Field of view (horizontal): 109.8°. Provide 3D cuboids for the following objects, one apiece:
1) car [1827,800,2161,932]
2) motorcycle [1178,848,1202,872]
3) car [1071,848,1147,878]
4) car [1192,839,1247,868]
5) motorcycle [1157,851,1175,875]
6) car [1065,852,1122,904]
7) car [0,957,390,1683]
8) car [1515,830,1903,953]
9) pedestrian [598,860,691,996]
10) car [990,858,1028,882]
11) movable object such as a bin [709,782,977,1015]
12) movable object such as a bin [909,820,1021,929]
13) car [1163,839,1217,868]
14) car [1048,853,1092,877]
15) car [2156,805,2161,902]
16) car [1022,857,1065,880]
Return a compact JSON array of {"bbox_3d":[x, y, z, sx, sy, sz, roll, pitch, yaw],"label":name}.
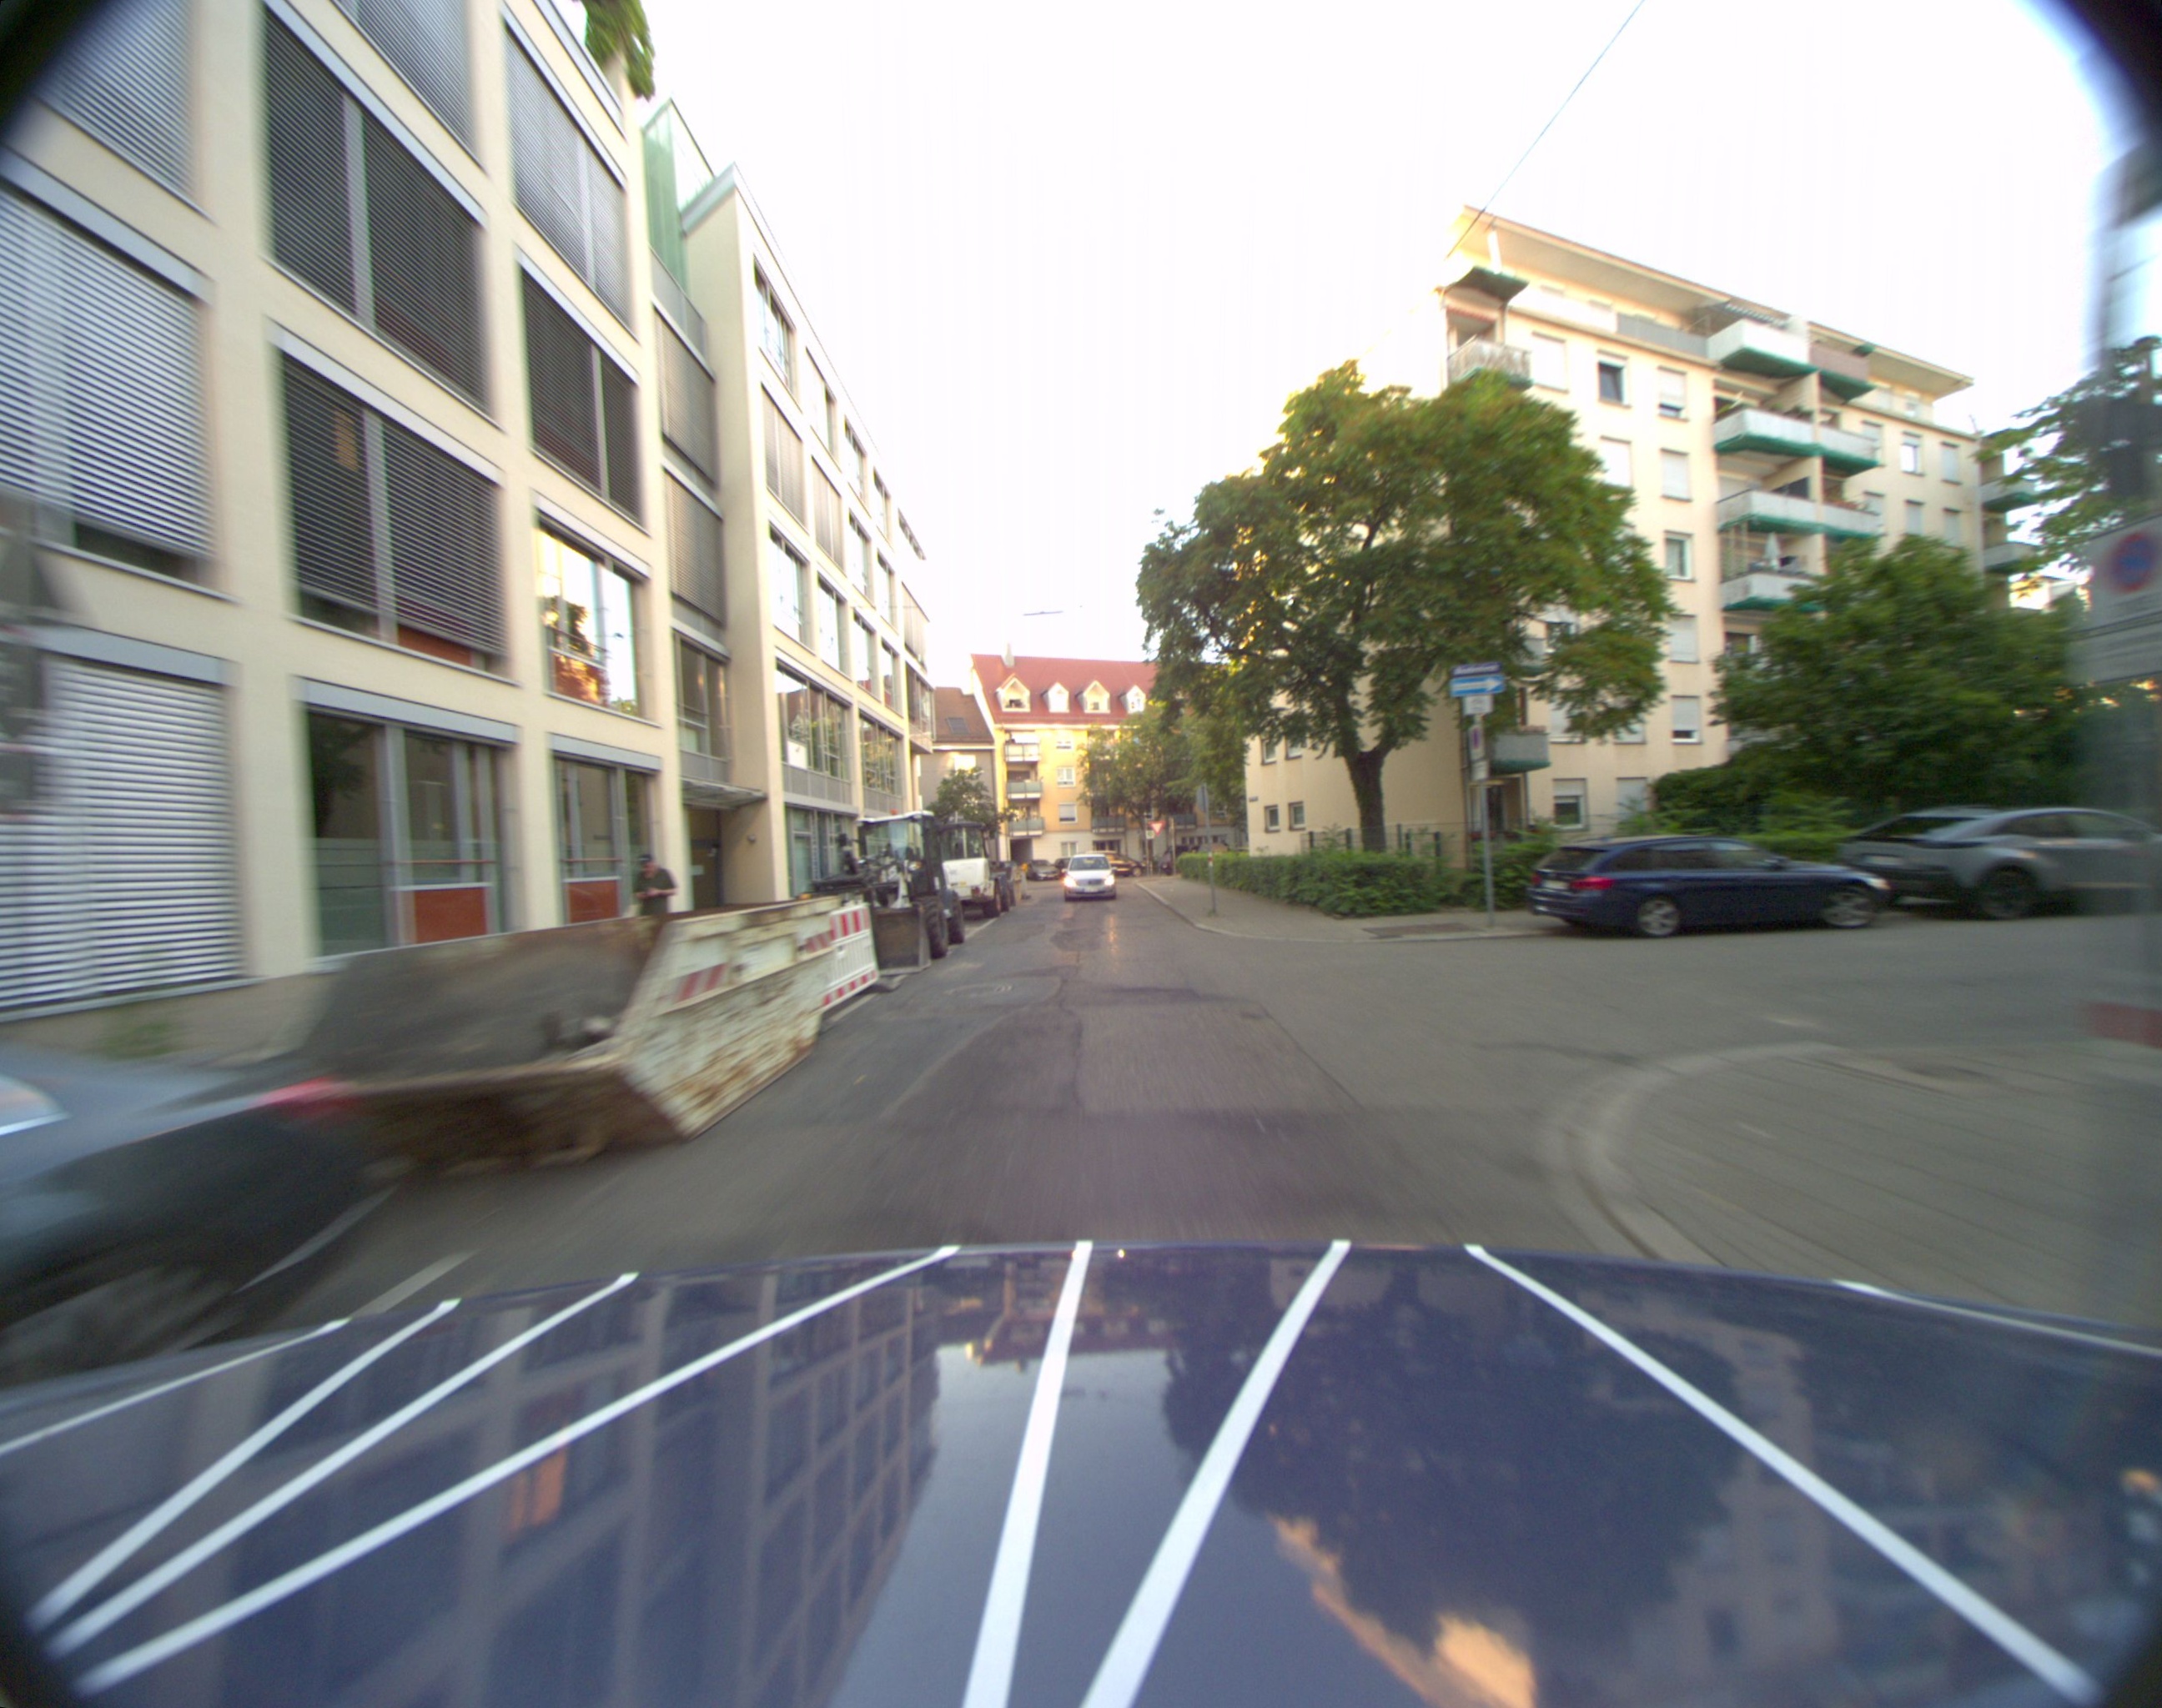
[{"bbox_3d":[14.361,0.142,11.611,4.123,1.694,1.727,-3,1,2],"label":"car"},{"bbox_3d":[6.567,0.366,45.796,0.572,1.398,1.968,-3,0,-18],"label":"motorcycle"},{"bbox_3d":[1.780,0.580,48.370,4.396,1.686,1.997,-3,1,-19],"label":"car"},{"bbox_3d":[10.705,-0.094,58.889,2.231,2.065,4.320,-3,2,-21],"label":"car"},{"bbox_3d":[5.029,0.535,44.994,0.858,1.345,1.960,-3,0,10],"label":"motorcycle"},{"bbox_3d":[0.448,0.787,26.751,1.804,1.607,4.273,-2,-1,1],"label":"car"},{"bbox_3d":[-3.341,1.168,0.352,1.791,1.463,4.446,-5,0,1],"label":"car"},{"bbox_3d":[9.224,0.510,11.407,4.382,1.473,1.726,-3,1,-1],"label":"car"},{"bbox_3d":[-6.127,1.010,10.708,0.807,1.809,0.722,-2,1,0],"label":"pedestrian"},{"bbox_3d":[-5.059,1.069,53.279,1.634,1.442,3.849,-3,2,-21],"label":"car"},{"bbox_3d":[-3.243,0.548,11.952,2.021,2.608,5.751,-5,0,2],"label":"movable object such as a bin"},{"bbox_3d":[-3.190,0.511,22.322,2.021,2.608,5.750,-5,0,2],"label":"movable object such as a bin"},{"bbox_3d":[8.297,-0.096,58.312,2.231,2.065,4.320,-3,2,-21],"label":"car"},{"bbox_3d":[-0.815,0.782,54.895,1.749,1.494,4.238,-3,2,-21],"label":"car"},{"bbox_3d":[19.407,-0.104,11.360,3.997,1.567,1.829,-3,1,1],"label":"car"},{"bbox_3d":[-2.737,0.968,54.143,1.749,1.395,4.238,-3,2,-21],"label":"car"}]
